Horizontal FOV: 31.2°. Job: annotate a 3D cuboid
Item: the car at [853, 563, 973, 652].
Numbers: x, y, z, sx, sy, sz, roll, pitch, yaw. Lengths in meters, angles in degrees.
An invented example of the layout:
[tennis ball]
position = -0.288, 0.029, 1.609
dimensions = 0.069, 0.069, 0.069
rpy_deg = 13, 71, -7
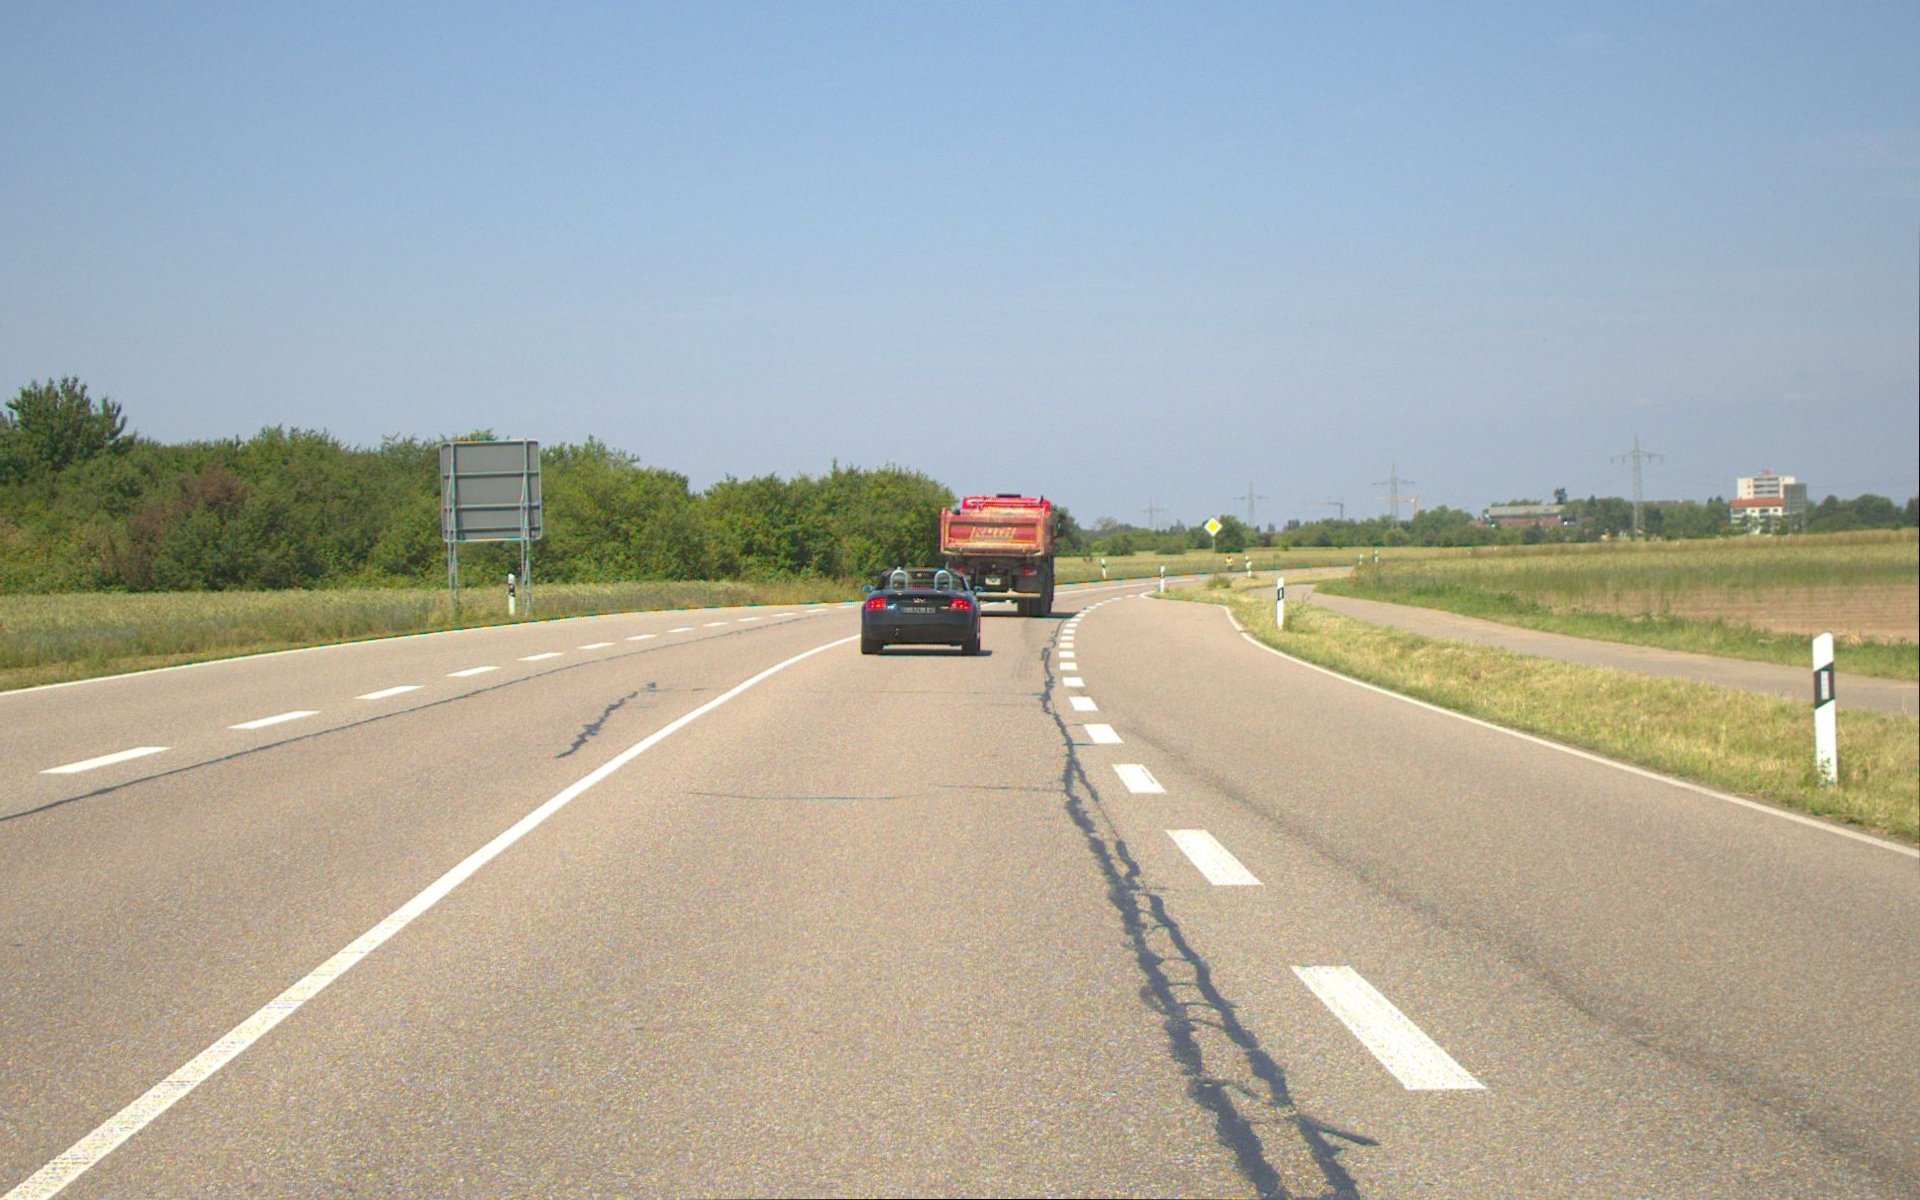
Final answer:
[car]
position = -0.702, 0.089, 52.146
dimensions = 1.744, 1.275, 4.000
rpy_deg = 0, 1, 0

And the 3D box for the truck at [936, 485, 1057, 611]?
[truck]
position = 0.992, -1.299, 87.424
dimensions = 2.938, 3.078, 7.196
rpy_deg = 0, 1, 2
